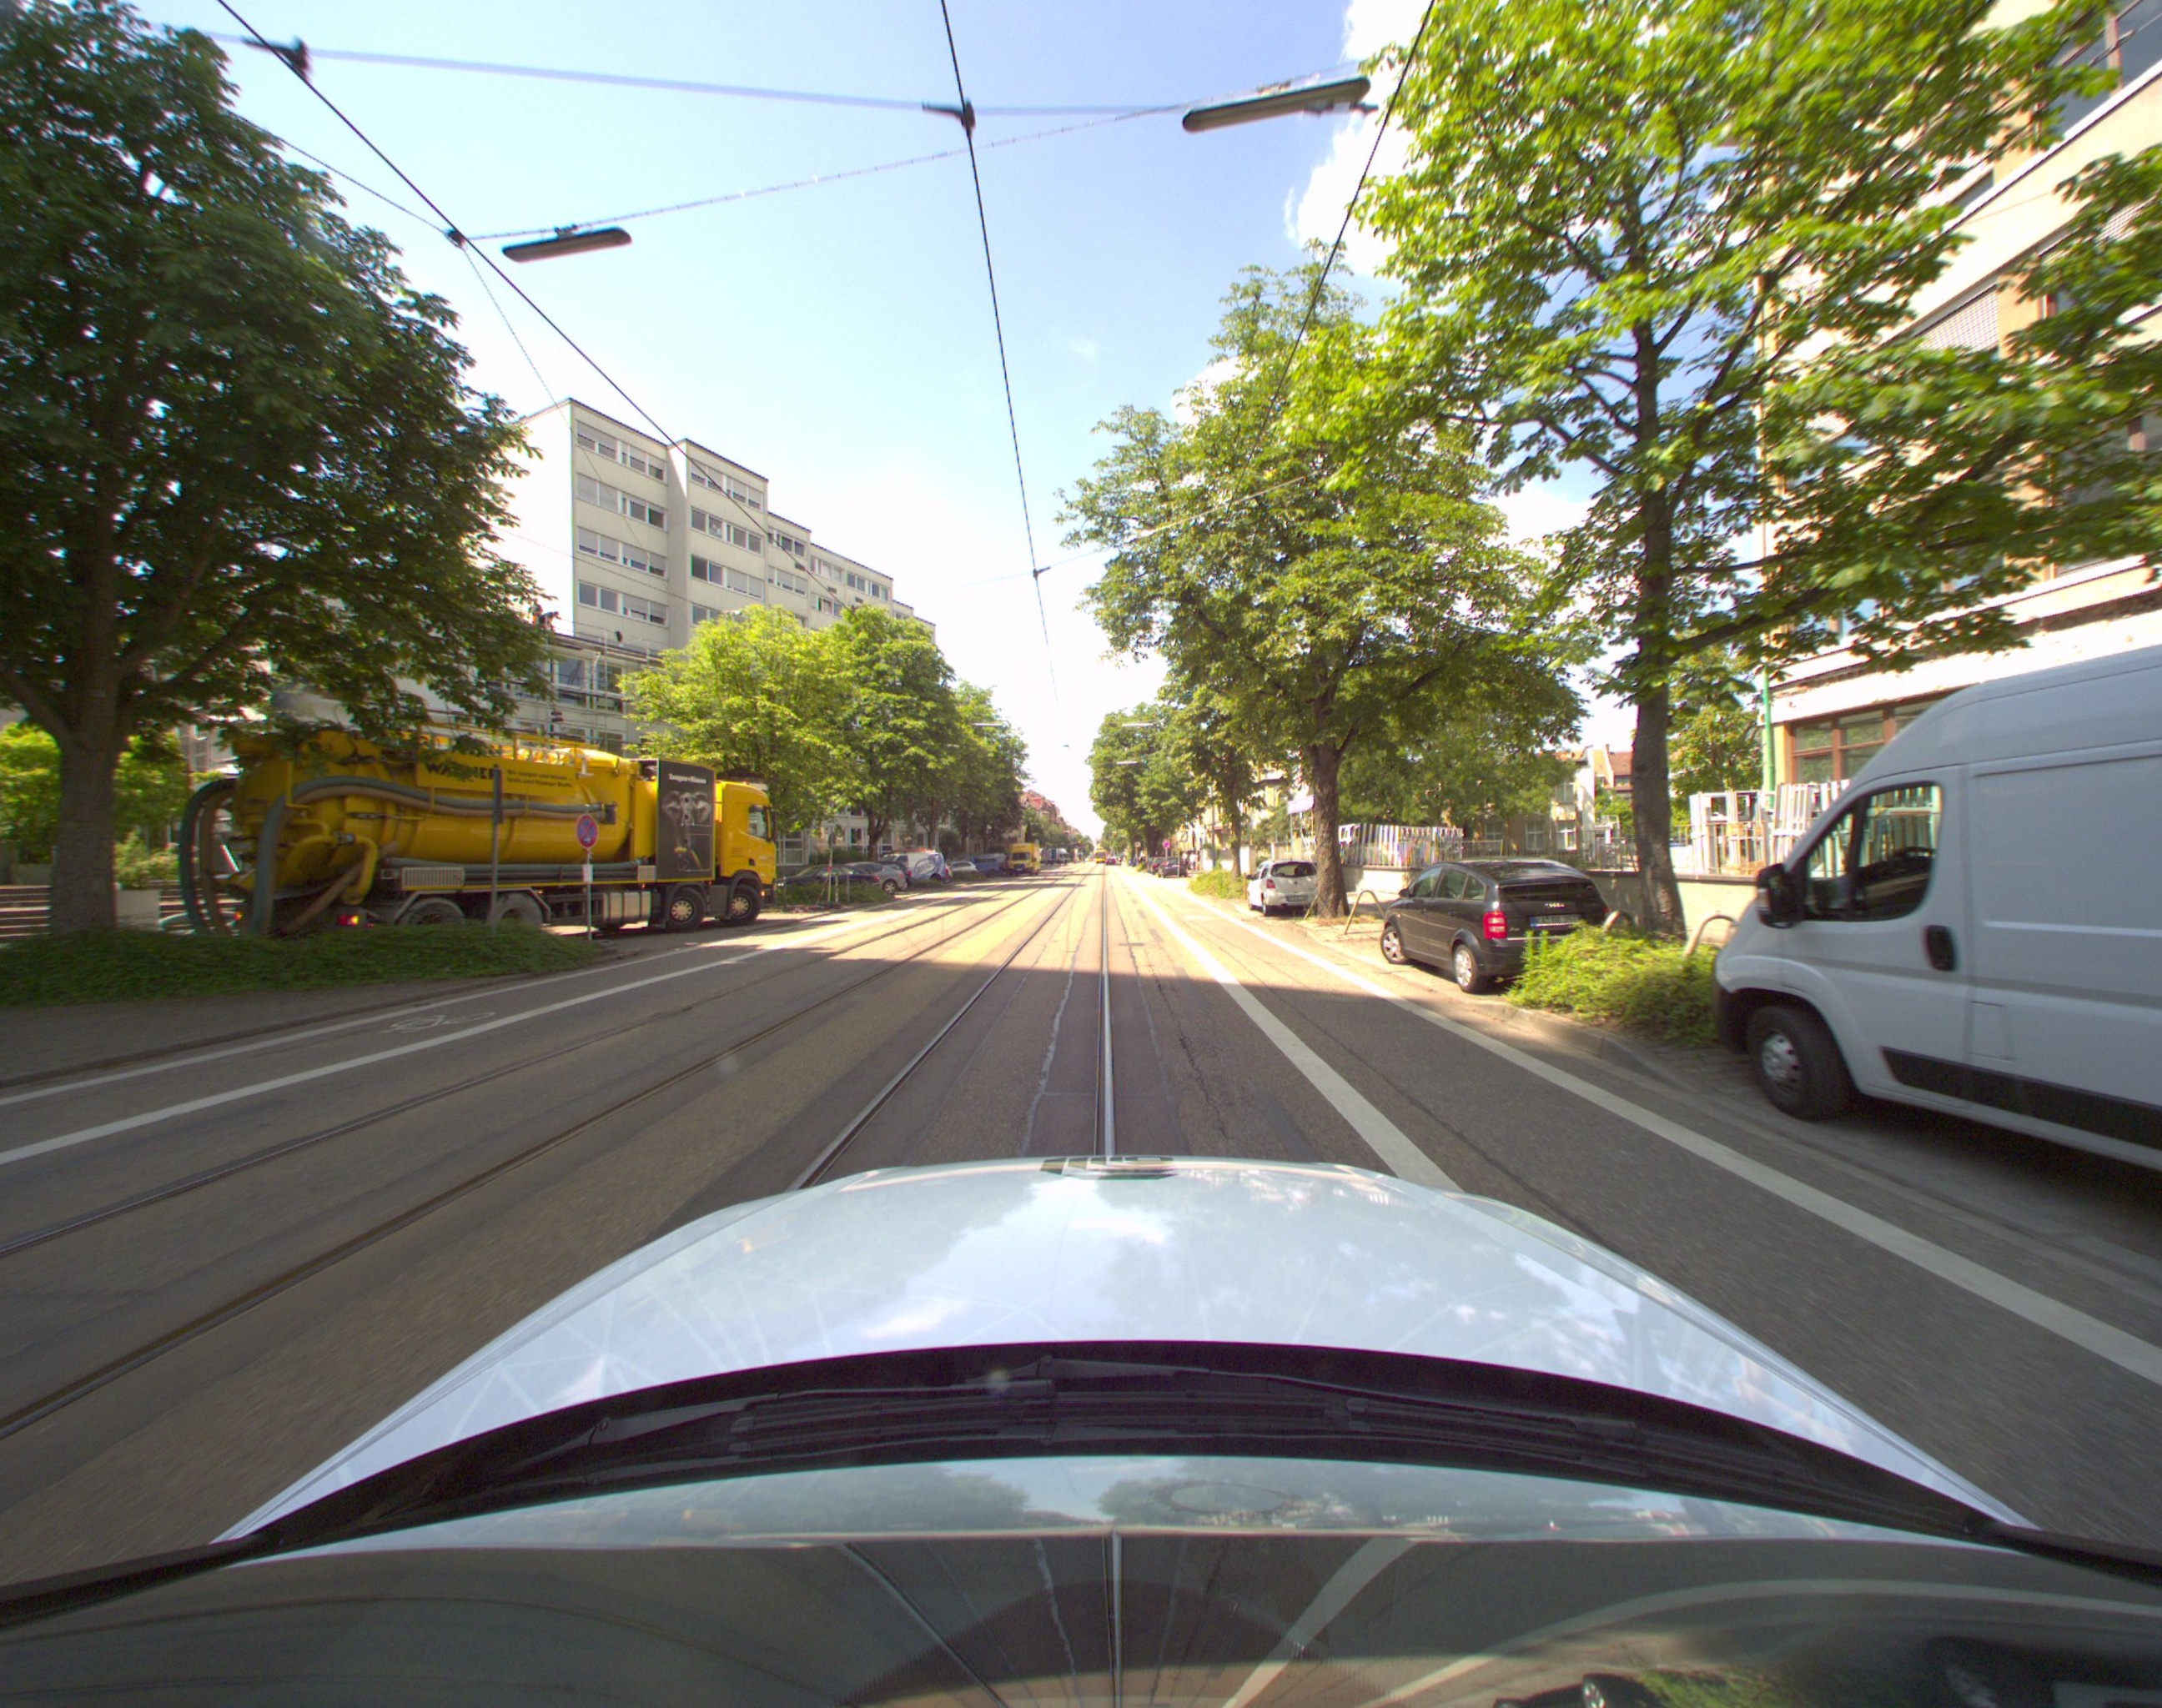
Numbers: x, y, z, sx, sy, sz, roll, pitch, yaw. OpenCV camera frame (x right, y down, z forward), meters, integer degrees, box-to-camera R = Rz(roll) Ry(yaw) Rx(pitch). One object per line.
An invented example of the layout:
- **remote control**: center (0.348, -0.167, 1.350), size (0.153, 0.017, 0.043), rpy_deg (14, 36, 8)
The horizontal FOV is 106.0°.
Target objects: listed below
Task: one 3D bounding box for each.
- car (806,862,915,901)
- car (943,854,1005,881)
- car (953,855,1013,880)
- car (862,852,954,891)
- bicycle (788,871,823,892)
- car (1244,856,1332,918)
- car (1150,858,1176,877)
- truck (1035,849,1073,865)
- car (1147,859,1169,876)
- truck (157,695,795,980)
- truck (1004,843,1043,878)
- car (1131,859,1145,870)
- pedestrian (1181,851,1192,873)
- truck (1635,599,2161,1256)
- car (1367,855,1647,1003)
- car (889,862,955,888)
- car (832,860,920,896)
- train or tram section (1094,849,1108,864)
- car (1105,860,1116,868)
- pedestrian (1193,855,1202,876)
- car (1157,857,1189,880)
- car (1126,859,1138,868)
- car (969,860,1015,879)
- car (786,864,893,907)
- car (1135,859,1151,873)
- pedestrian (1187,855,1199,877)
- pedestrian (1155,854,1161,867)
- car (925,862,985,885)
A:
- **car**: center (-9.723, 1.181, 36.054), size (4.225, 1.507, 1.852), rpy_deg (-2, -1, -40)
- **car**: center (-8.633, 1.077, 65.850), size (4.759, 1.955, 1.824), rpy_deg (-2, 0, -44)
- **car**: center (-8.656, 1.185, 72.103), size (4.785, 2.062, 2.003), rpy_deg (-2, 0, -38)
- **car**: center (-9.714, 0.952, 45.976), size (1.897, 1.935, 4.785), rpy_deg (-3, -1, 44)
- **bicycle**: center (-15.437, 1.534, 45.611), size (2.110, 1.075, 0.561), rpy_deg (0, 0, 26)
- **car**: center (5.610, 0.840, 22.516), size (1.637, 1.534, 3.788), rpy_deg (-1, 0, 3)
- **car**: center (6.929, 1.146, 68.916), size (1.869, 1.455, 4.529), rpy_deg (-2, -1, 2)
- **truck**: center (-6.094, 0.688, 180.978), size (8.342, 3.550, 2.968), rpy_deg (-1, 0, 36)
- **car**: center (7.083, 1.224, 75.312), size (1.705, 1.423, 4.244), rpy_deg (-2, -1, 1)
- **truck**: center (-10.401, -0.170, 16.620), size (2.695, 3.842, 11.008), rpy_deg (0, -1, 16)
- **truck**: center (-4.896, 0.521, 70.880), size (2.351, 2.852, 7.384), rpy_deg (-2, 0, 3)
- **car**: center (8.135, 1.495, 116.751), size (1.705, 1.423, 4.310), rpy_deg (-2, -1, 1)
- **pedestrian**: center (9.055, 0.657, 69.933), size (0.801, 1.859, 0.580), rpy_deg (-2, -1, 25)
- **truck**: center (5.091, 0.266, 3.062), size (2.007, 2.488, 5.957), rpy_deg (-1, 0, 1)
- **car**: center (5.227, 0.796, 10.642), size (1.638, 1.534, 3.947), rpy_deg (-1, 0, 1)
- **car**: center (-10.075, 1.333, 51.776), size (3.731, 1.467, 1.741), rpy_deg (-2, -1, -44)
- **car**: center (-9.810, 1.120, 39.176), size (3.731, 1.544, 1.671), rpy_deg (-2, -1, -44)
- **train or tram section**: center (4.710, 0.604, 191.851), size (3.023, 3.438, 11.976), rpy_deg (-1, 0, 2)
- **car**: center (5.139, 1.699, 142.889), size (1.774, 1.346, 3.417), rpy_deg (-1, 0, 2)
- **pedestrian**: center (10.041, 1.010, 70.121), size (0.613, 1.737, 0.481), rpy_deg (-3, -1, 27)
- **car**: center (6.347, 0.977, 56.423), size (1.634, 1.485, 3.870), rpy_deg (-2, -1, -2)
- **car**: center (8.409, 1.652, 134.983), size (1.705, 1.423, 4.310), rpy_deg (-2, -1, 1)
- **car**: center (-8.266, 1.456, 75.612), size (3.942, 1.600, 1.726), rpy_deg (-2, 0, -44)
- **car**: center (-9.651, 1.232, 32.716), size (1.740, 1.507, 3.732), rpy_deg (-3, -1, 44)
- **car**: center (7.379, 1.427, 97.185), size (1.586, 1.617, 3.908), rpy_deg (-2, -1, 1)
- **pedestrian**: center (9.465, 1.006, 68.863), size (0.717, 1.859, 0.580), rpy_deg (-2, -1, 29)
- **pedestrian**: center (10.647, 0.882, 112.409), size (0.806, 1.860, 0.623), rpy_deg (-1, -2, -1)
- **car**: center (-9.129, 1.421, 59.352), size (1.740, 1.433, 4.025), rpy_deg (-5, -1, 43)
